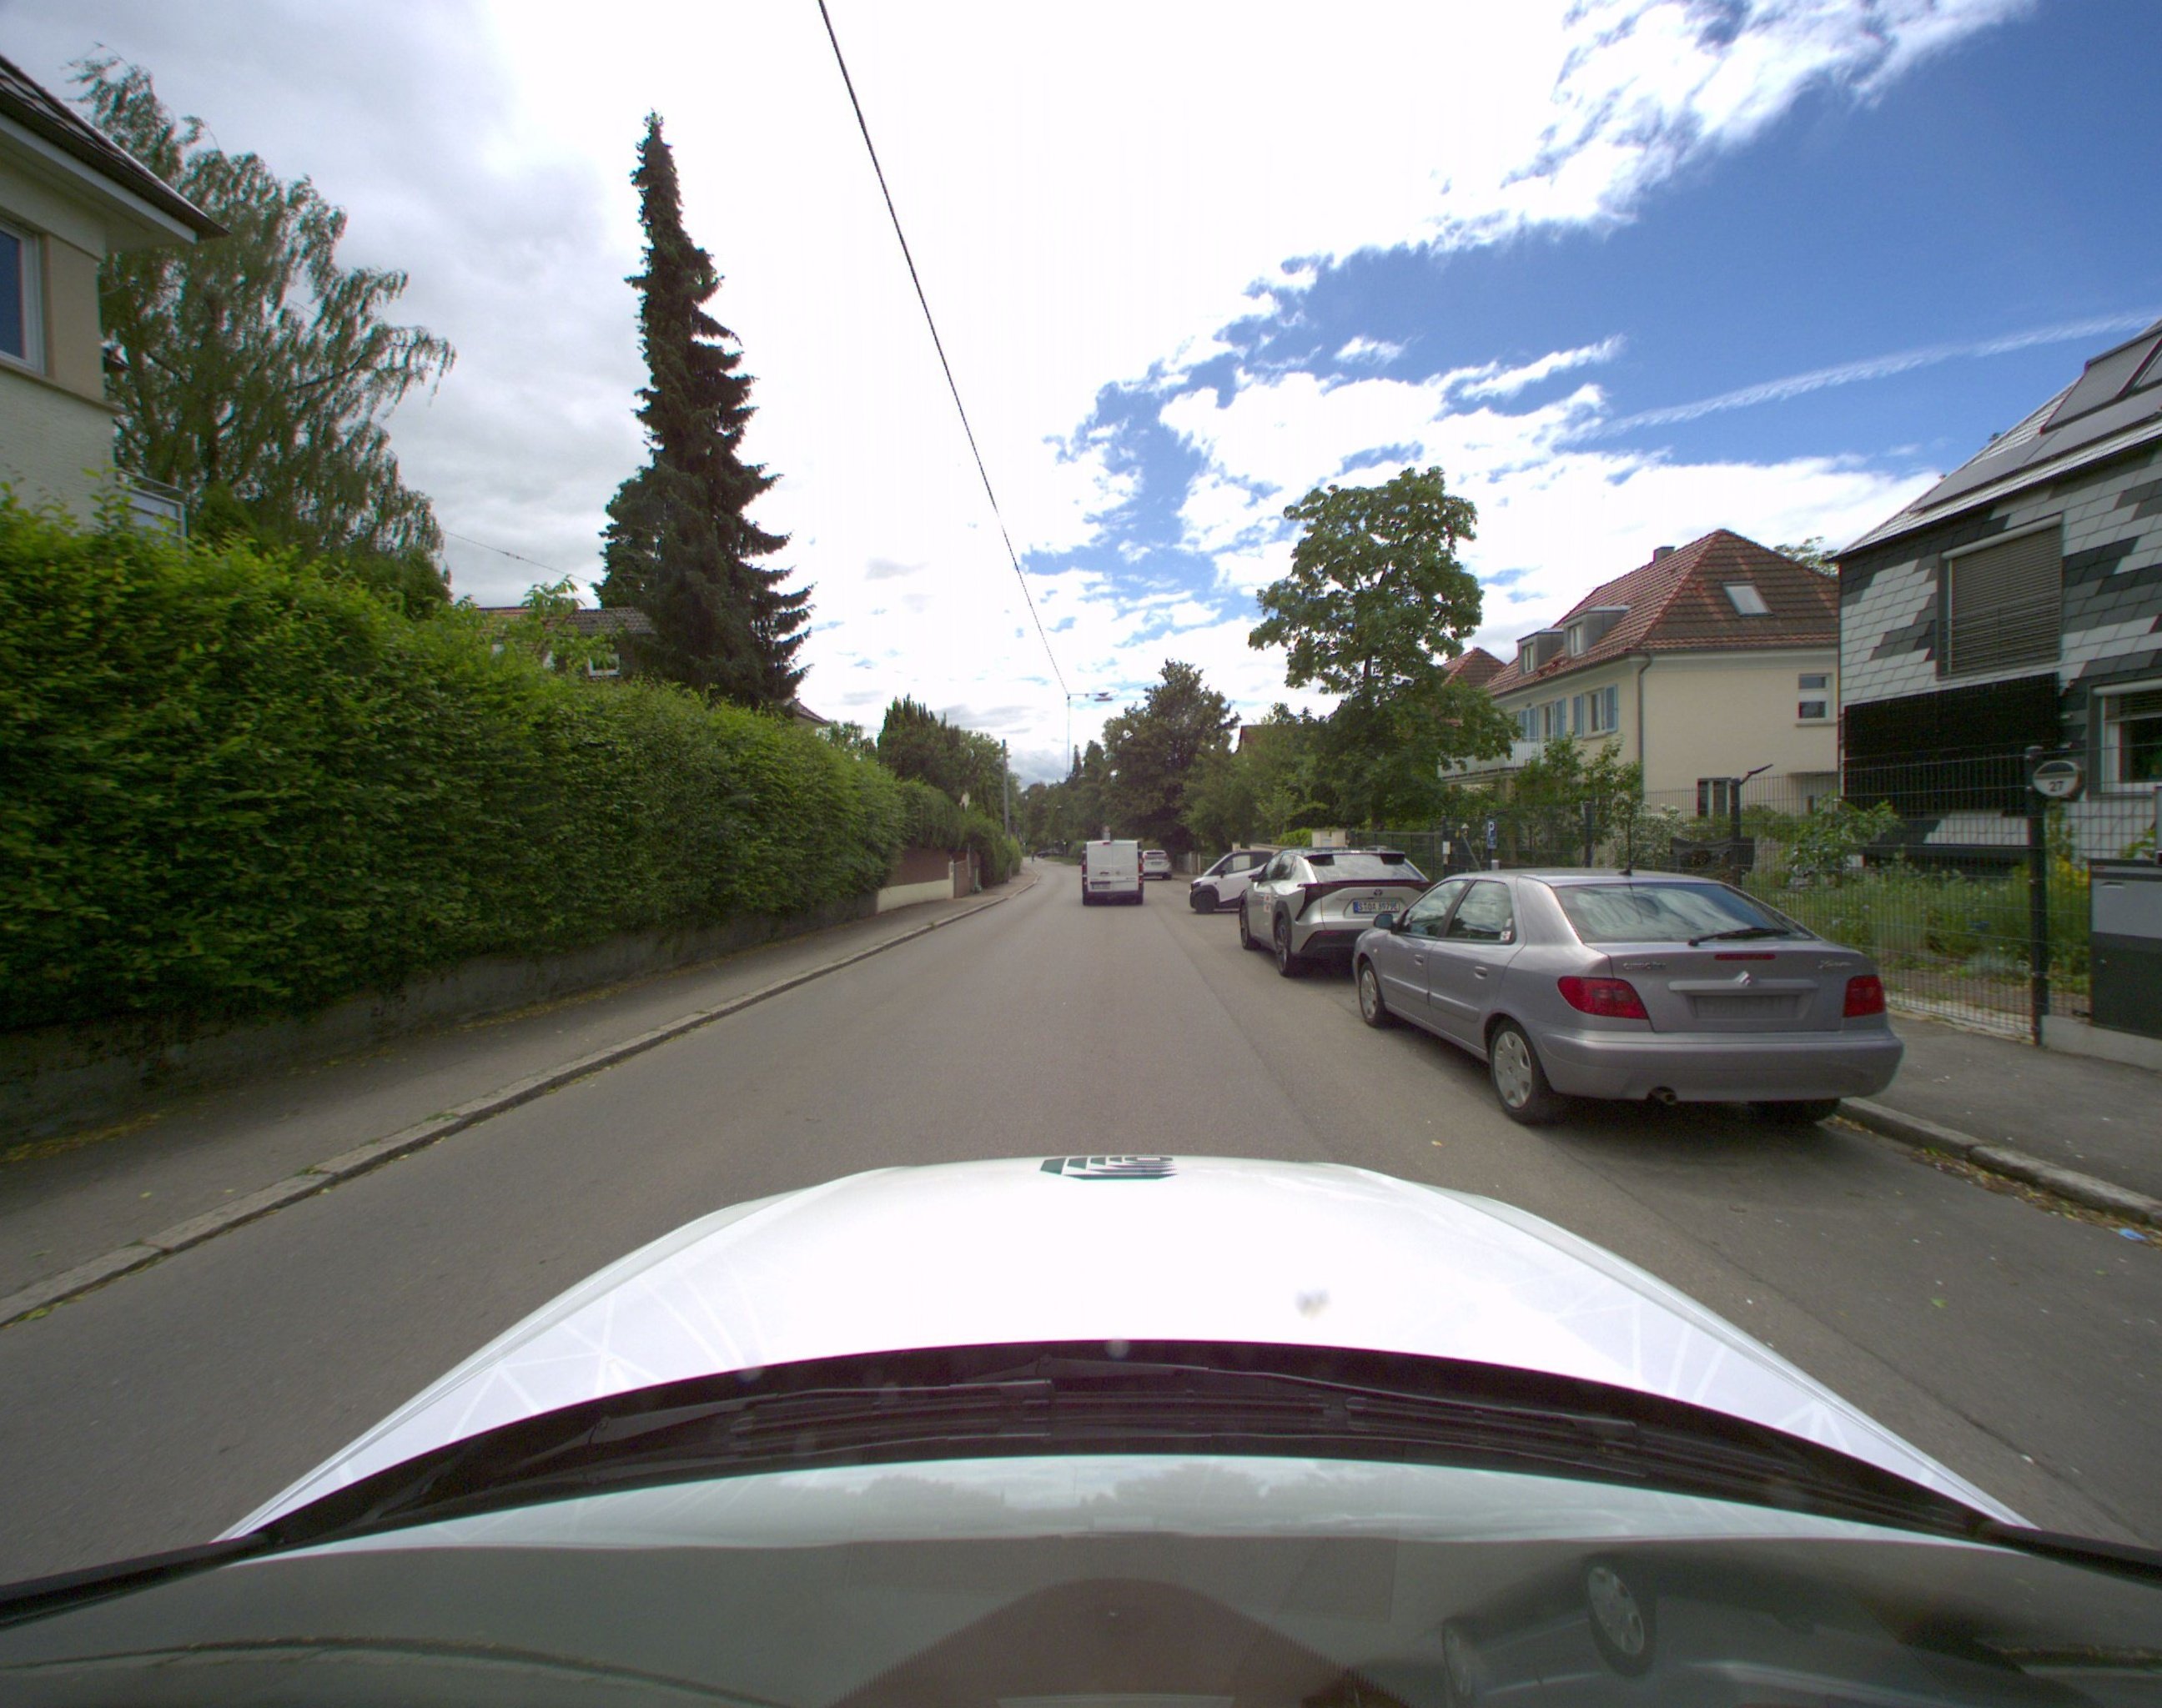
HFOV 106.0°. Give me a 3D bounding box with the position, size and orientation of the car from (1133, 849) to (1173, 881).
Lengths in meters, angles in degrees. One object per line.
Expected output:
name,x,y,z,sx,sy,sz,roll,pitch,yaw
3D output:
car,4.090,0.607,46.676,1.859,1.685,4.349,-2,0,0

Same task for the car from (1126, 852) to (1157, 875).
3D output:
car,4.254,0.662,57.728,1.706,1.487,3.785,-2,0,-4

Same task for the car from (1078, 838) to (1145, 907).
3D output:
car,0.912,0.509,26.034,1.923,1.964,4.402,-2,1,0

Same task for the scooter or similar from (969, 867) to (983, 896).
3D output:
scooter or similar,-4.471,1.147,34.722,0.390,1.171,1.270,-2,0,1

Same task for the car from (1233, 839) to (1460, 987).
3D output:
car,3.406,0.664,11.406,1.822,1.623,4.494,-2,0,2

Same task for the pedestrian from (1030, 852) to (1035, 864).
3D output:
pedestrian,-6.658,0.519,111.704,0.696,1.616,0.714,-2,2,-5

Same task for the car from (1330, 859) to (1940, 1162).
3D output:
car,3.284,0.761,6.007,1.710,1.382,4.238,-2,0,2

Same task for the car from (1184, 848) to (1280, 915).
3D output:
car,3.796,0.678,20.724,2.275,1.524,1.320,-3,1,6

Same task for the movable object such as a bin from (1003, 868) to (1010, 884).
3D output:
movable object such as a bin,-4.278,1.273,46.949,0.335,0.893,0.476,-1,0,2

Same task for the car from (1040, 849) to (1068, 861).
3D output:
car,-4.551,0.142,137.125,4.362,1.859,1.908,-2,1,10

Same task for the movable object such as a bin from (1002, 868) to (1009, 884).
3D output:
movable object such as a bin,-4.289,1.233,46.394,0.335,0.893,0.476,-1,0,3

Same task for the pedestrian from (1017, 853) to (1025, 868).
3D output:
pedestrian,-6.718,0.765,91.348,0.704,1.610,0.576,-3,0,0
